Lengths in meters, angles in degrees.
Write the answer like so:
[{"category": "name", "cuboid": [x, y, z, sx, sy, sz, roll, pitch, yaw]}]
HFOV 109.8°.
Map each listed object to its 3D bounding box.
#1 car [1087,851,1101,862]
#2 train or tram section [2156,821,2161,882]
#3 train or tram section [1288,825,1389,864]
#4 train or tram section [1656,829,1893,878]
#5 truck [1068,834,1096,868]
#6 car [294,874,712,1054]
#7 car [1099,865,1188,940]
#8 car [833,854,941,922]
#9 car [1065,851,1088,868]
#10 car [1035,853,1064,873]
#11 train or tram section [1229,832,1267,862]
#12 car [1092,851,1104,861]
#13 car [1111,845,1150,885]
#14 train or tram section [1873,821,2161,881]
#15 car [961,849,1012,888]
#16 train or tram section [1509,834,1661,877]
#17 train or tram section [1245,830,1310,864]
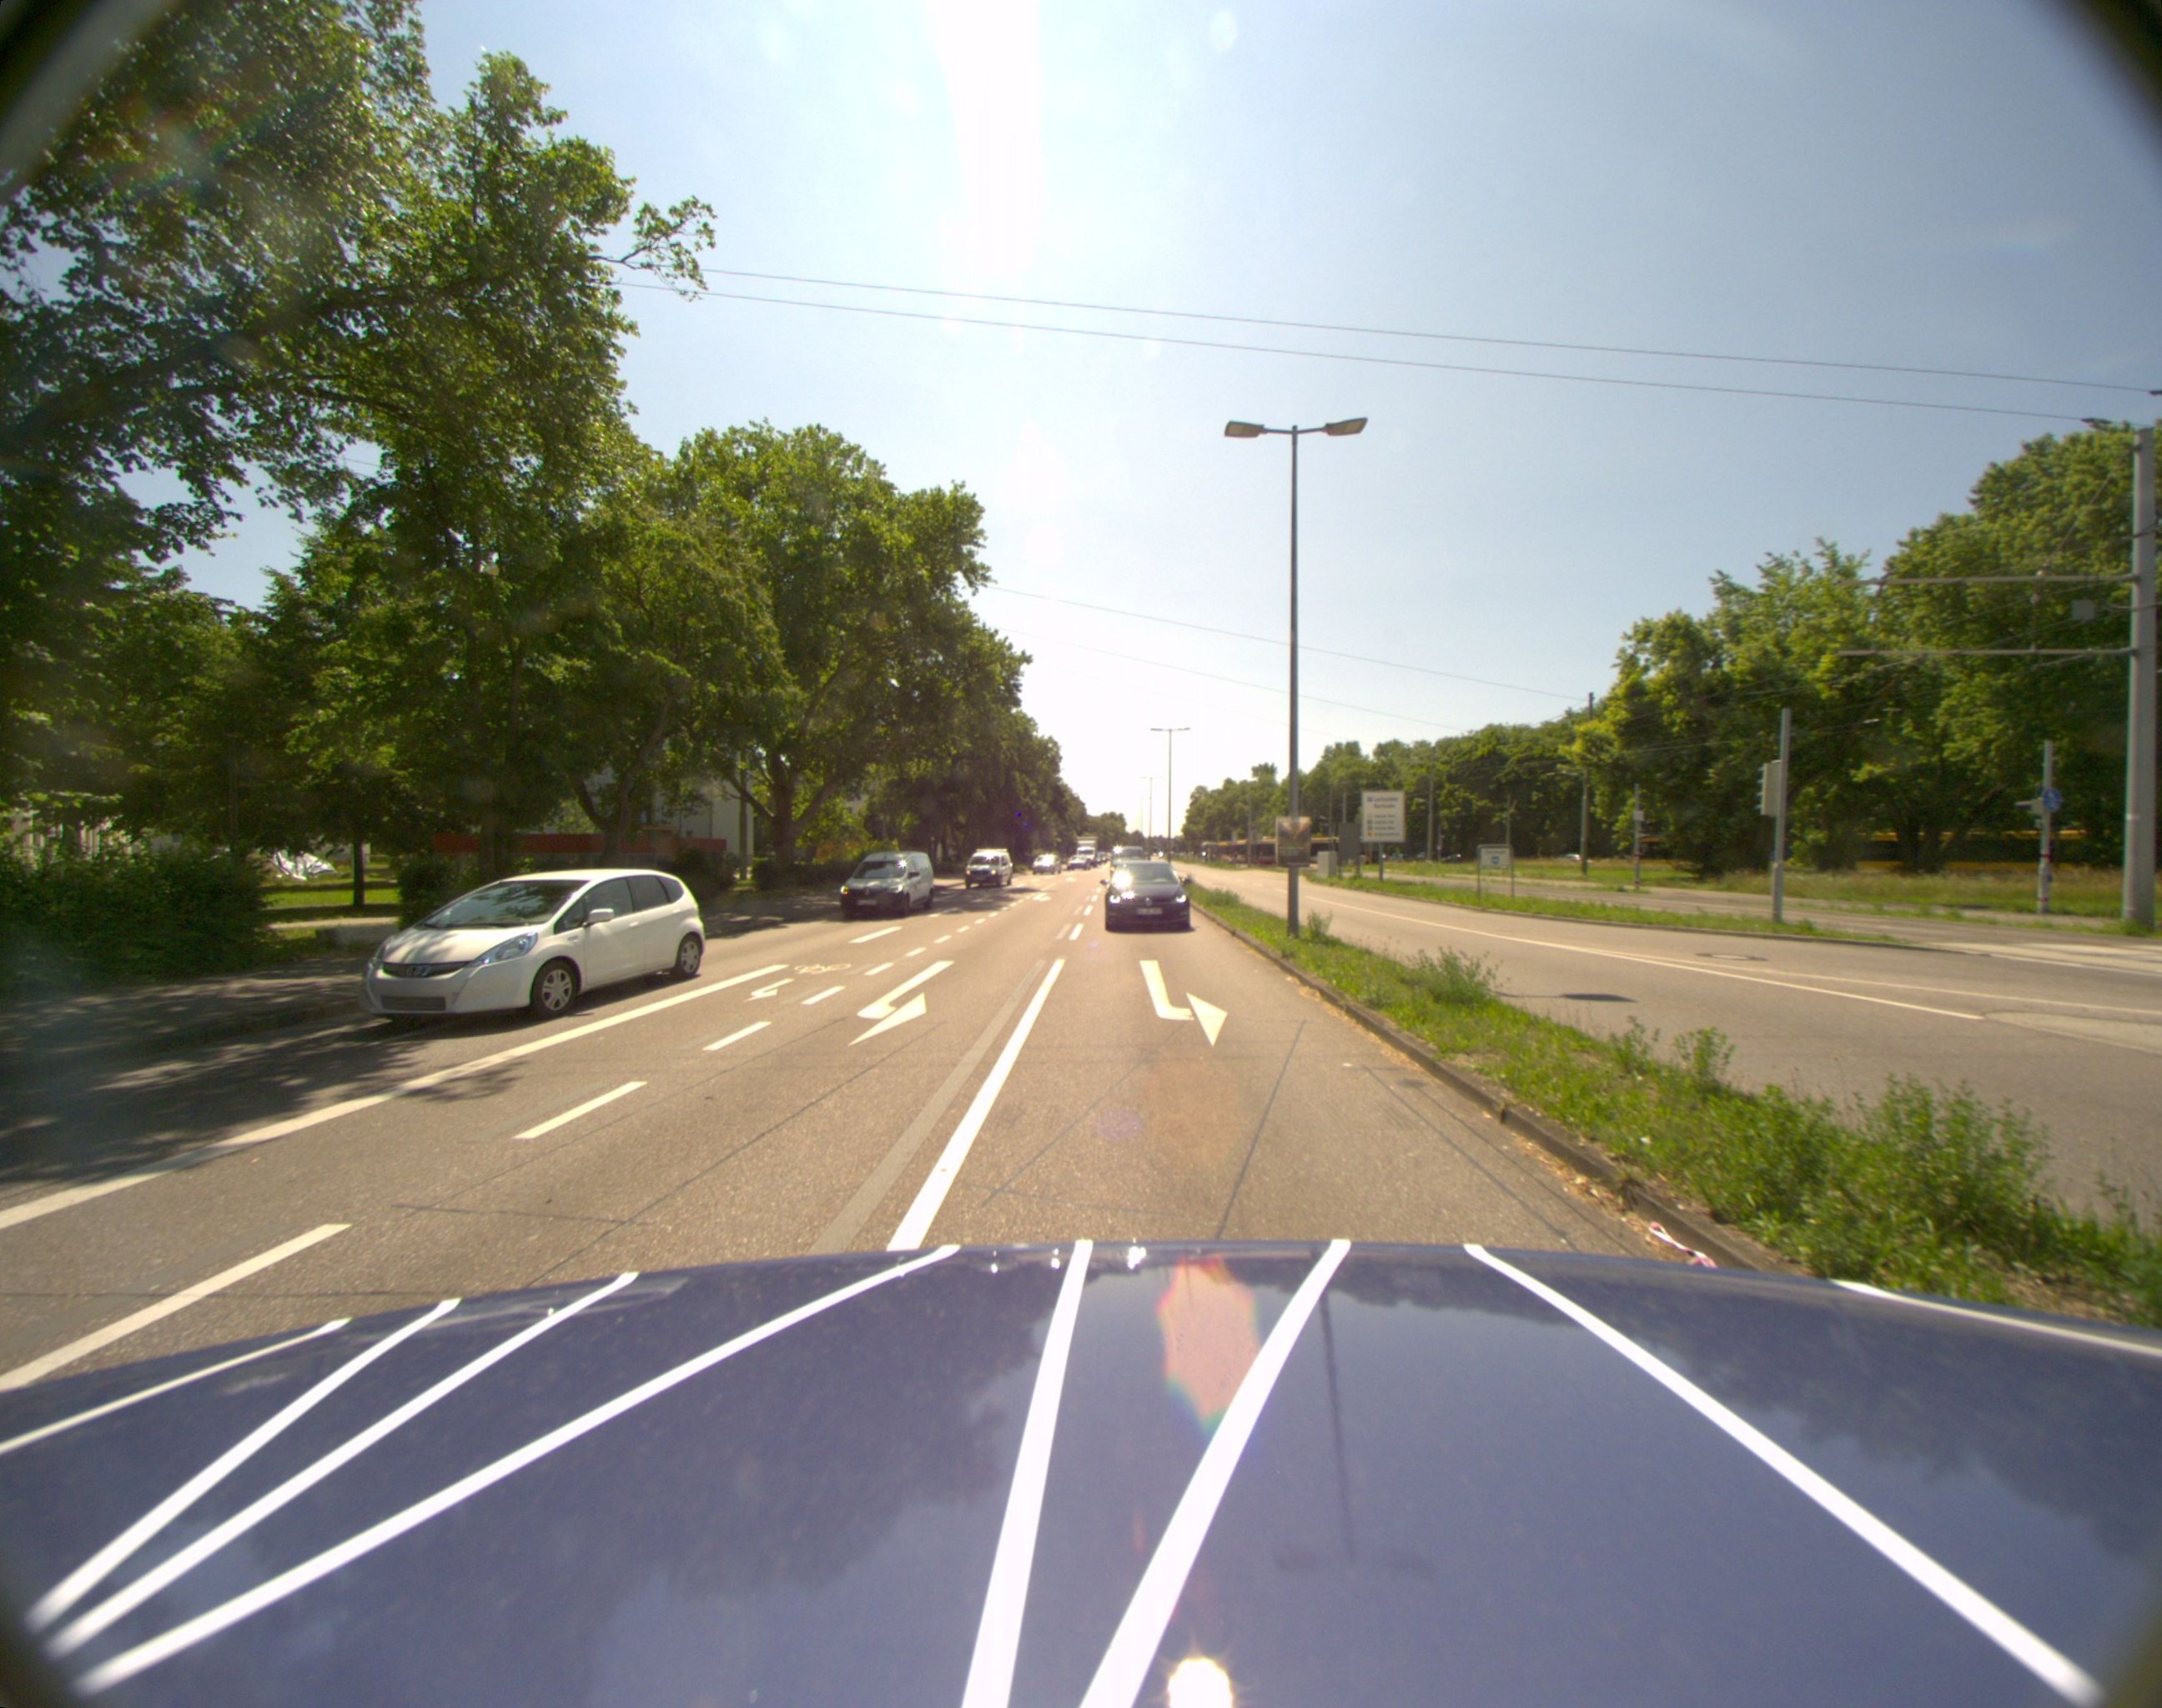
[{"category": "car", "cuboid": [1.643, 0.316, 95.656, 1.604, 1.279, 3.645, -2, 1, 1]}, {"category": "train or tram section", "cuboid": [67.759, -0.215, 40.091, 3.023, 3.737, 14.053, -1, 0, 4]}, {"category": "train or tram section", "cuboid": [29.713, -0.924, 88.686, 3.030, 4.230, 12.723, -1, 0, -26]}, {"category": "train or tram section", "cuboid": [56.210, 0.059, 62.486, 14.153, 3.737, 3.032, -1, 0, 39]}, {"category": "truck", "cuboid": [0.217, -0.396, 83.849, 2.586, 3.512, 7.712, -2, 1, 3]}, {"category": "car", "cuboid": [-6.180, 1.047, 8.819, 1.730, 1.496, 3.899, -1, 0, 3]}, {"category": "car", "cuboid": [1.448, 0.978, 16.771, 1.707, 1.396, 4.056, -1, 0, 7]}, {"category": "car", "cuboid": [-5.447, 0.890, 21.976, 1.809, 1.708, 4.343, -1, 1, 3]}, {"category": "car", "cuboid": [-0.398, 0.500, 70.620, 1.847, 1.417, 4.215, -1, 1, 3]}, {"category": "car", "cuboid": [-2.407, 0.666, 58.548, 1.847, 1.417, 4.215, -1, 1, 3]}, {"category": "train or tram section", "cuboid": [24.534, -0.948, 112.485, 3.023, 4.229, 12.751, -1, 0, 1]}, {"category": "car", "cuboid": [2.379, 0.235, 107.859, 1.604, 1.279, 3.645, -2, 1, 1]}, {"category": "car", "cuboid": [2.620, 0.519, 39.894, 1.940, 1.920, 4.847, 0, 1, 4]}, {"category": "train or tram section", "cuboid": [65.087, -0.136, 52.432, 3.031, 3.737, 14.159, -1, 0, -32]}, {"category": "car", "cuboid": [-4.708, 0.685, 38.530, 1.895, 1.782, 4.392, -2, 1, 1]}, {"category": "train or tram section", "cuboid": [46.002, 0.211, 69.863, 11.410, 3.737, 3.032, -1, 0, 33]}, {"category": "train or tram section", "cuboid": [25.690, -0.853, 100.246, 3.027, 4.229, 12.737, -1, 0, -12]}]
